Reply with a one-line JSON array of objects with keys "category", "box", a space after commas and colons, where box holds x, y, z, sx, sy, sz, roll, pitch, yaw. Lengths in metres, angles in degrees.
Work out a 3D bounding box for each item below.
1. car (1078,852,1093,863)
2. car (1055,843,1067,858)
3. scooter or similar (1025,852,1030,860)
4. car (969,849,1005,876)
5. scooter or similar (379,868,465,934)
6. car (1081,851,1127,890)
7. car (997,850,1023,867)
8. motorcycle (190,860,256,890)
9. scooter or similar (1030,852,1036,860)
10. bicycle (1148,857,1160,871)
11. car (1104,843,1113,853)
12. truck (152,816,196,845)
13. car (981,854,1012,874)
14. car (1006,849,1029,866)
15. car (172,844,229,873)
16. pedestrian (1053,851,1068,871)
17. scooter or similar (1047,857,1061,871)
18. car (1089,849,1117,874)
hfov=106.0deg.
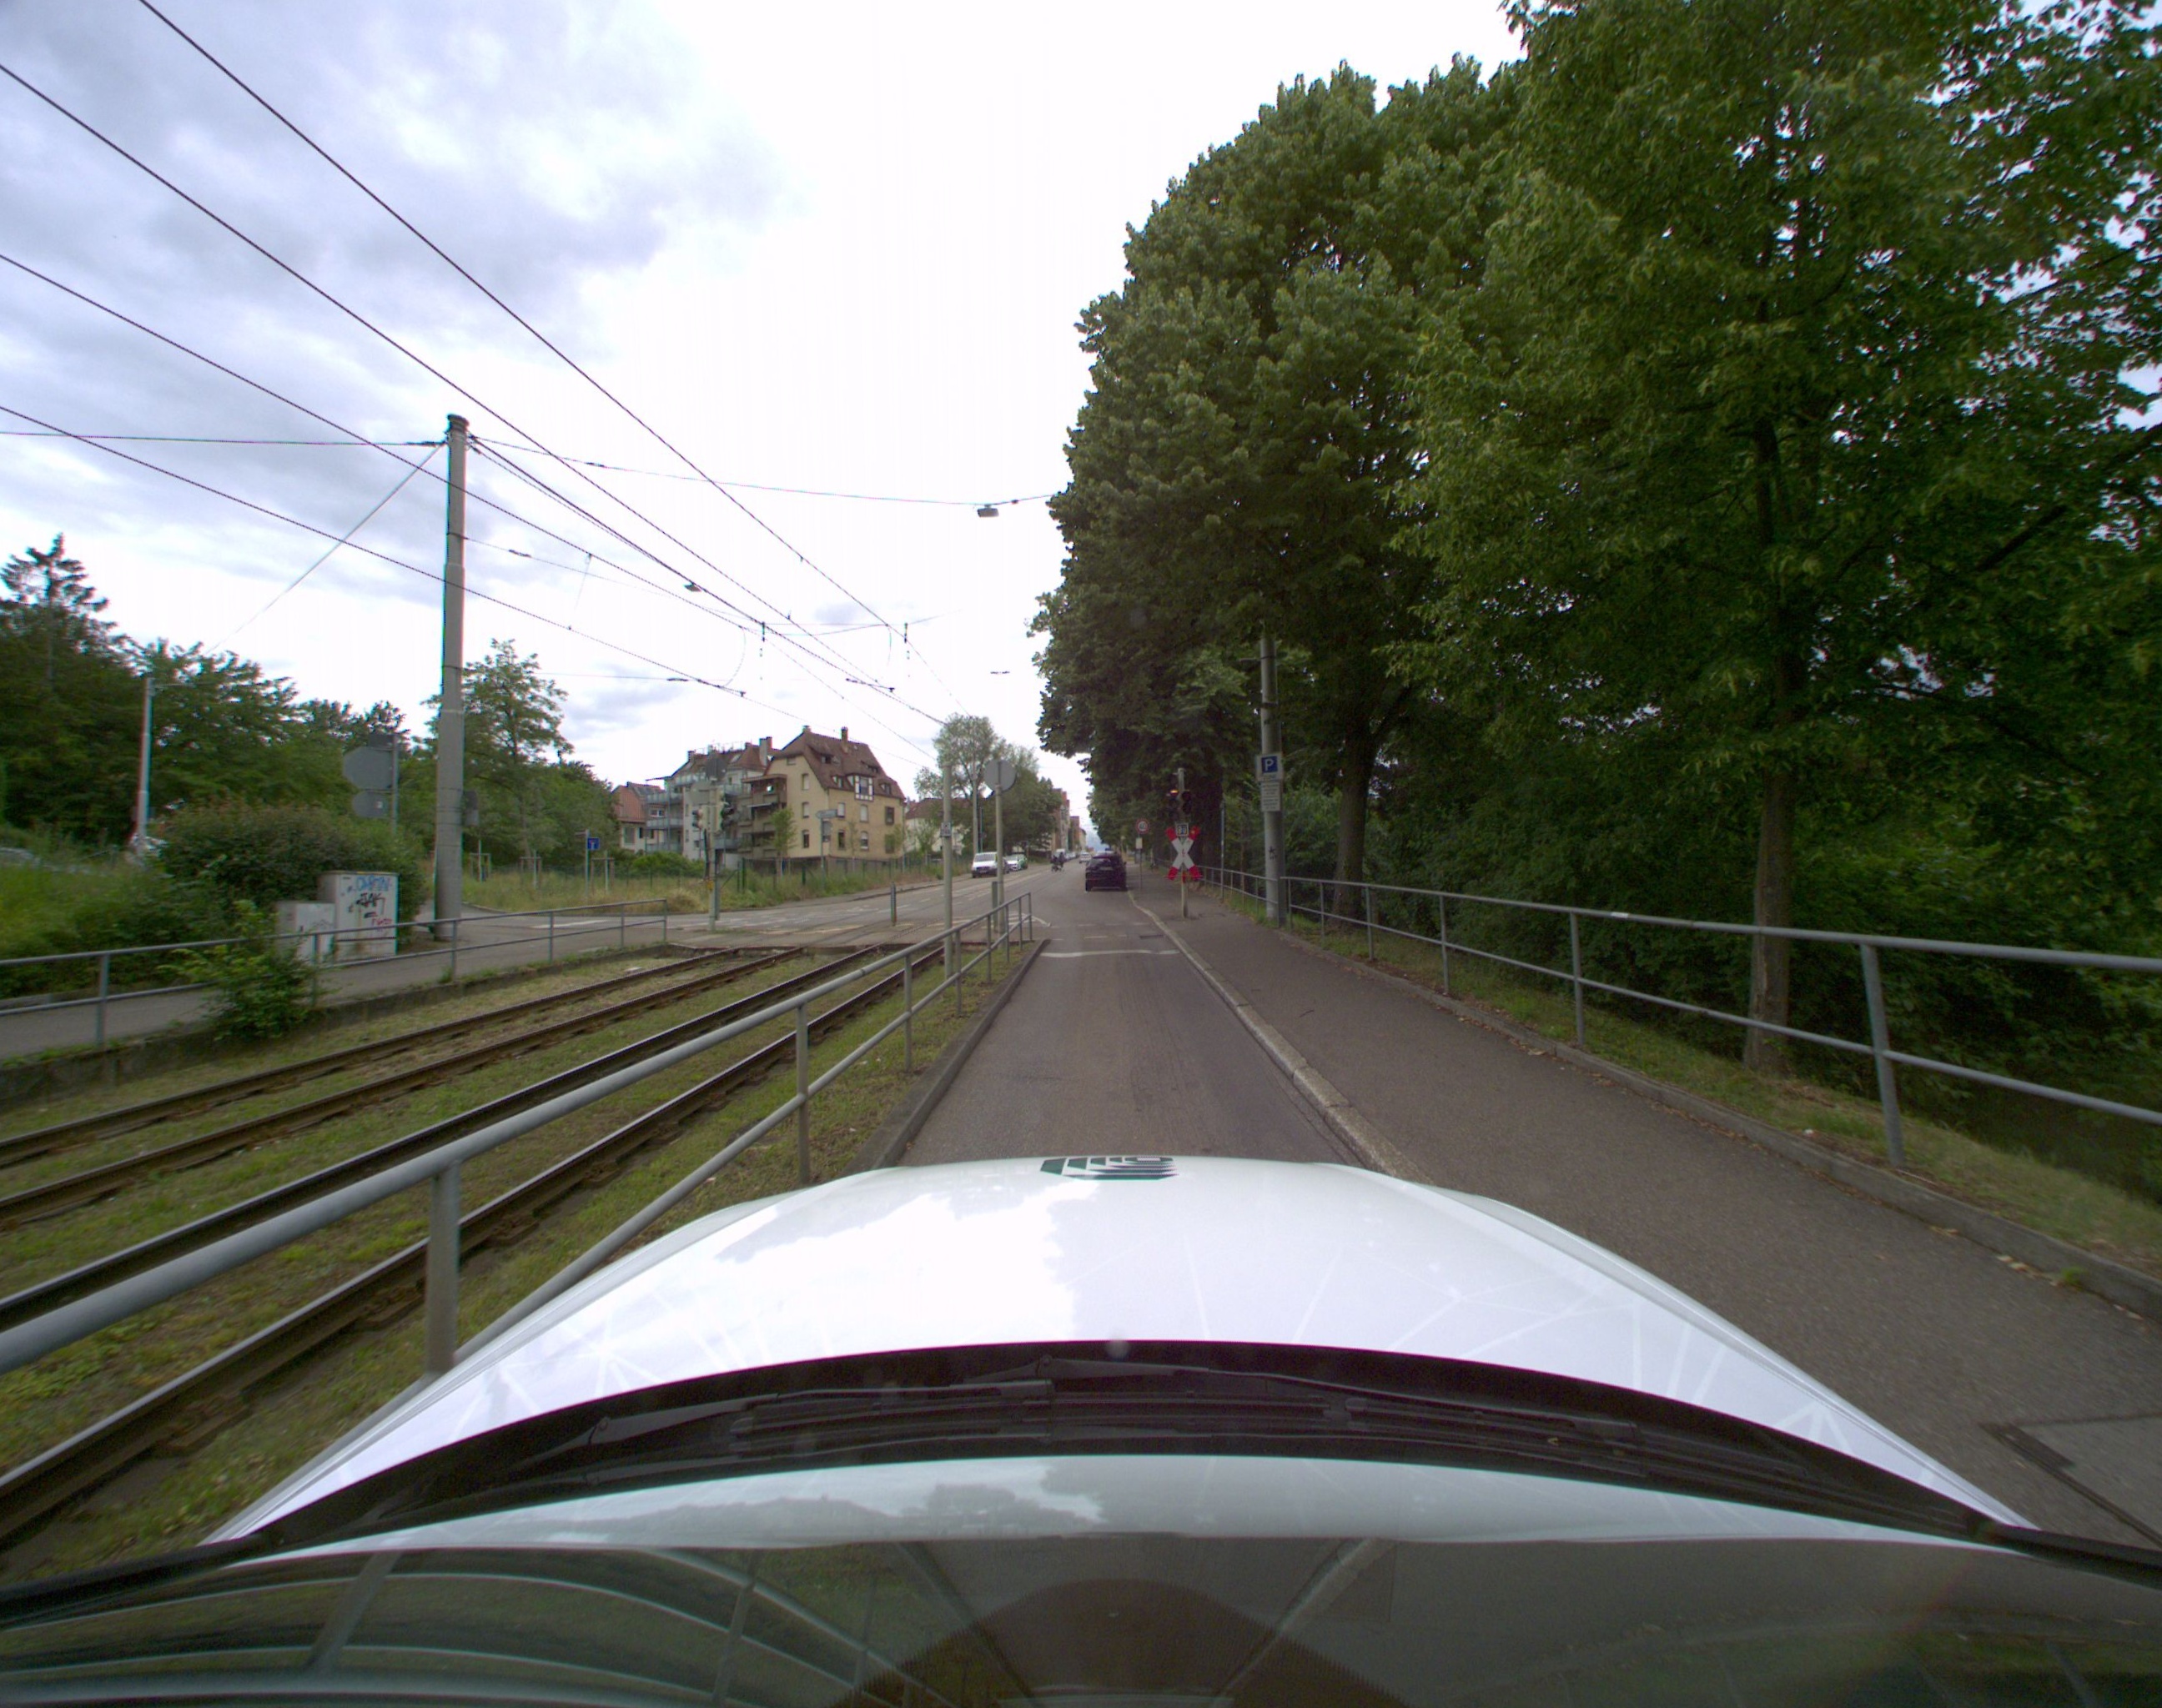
[{"category": "car", "box": [0.666, 0.524, 115.078, 1.986, 1.498, 4.314, -1, 0, 2]}, {"category": "car", "box": [-3.864, -0.584, 157.762, 2.223, 2.764, 5.798, -1, 0, 0]}, {"category": "scooter or similar", "box": [-9.095, 0.380, 138.279, 0.688, 1.339, 1.640, -1, 0, 3]}, {"category": "car", "box": [-7.193, 0.637, 62.957, 2.029, 1.881, 4.885, -4, 0, 1]}, {"category": "scooter or similar", "box": [-13.747, 0.980, 17.005, 1.403, 1.289, 0.419, 3, -1, 2]}, {"category": "car", "box": [1.094, 0.685, 36.744, 1.896, 1.615, 4.604, 0, 0, 3]}, {"category": "car", "box": [-6.678, 0.419, 77.016, 1.878, 1.526, 4.666, -3, 0, 2]}, {"category": "motorcycle", "box": [-34.391, 0.850, 32.665, 0.515, 1.157, 1.715, -2, -5, 37]}, {"category": "scooter or similar", "box": [-8.144, 0.363, 138.264, 0.688, 1.339, 1.640, -1, 0, 3]}, {"category": "bicycle", "box": [4.987, 0.671, 55.750, 0.427, 0.976, 1.790, -1, 0, -8]}, {"category": "car", "box": [7.127, -1.475, 210.735, 1.985, 2.574, 4.707, -2, 0, 2]}, {"category": "truck", "box": [-124.303, -3.130, 111.571, 8.093, 3.600, 3.583, -1, -1, 39]}, {"category": "car", "box": [-7.072, 0.834, 68.680, 1.889, 1.432, 4.513, -3, 1, 2]}, {"category": "car", "box": [-6.411, 0.295, 82.616, 1.716, 1.579, 4.183, -3, 0, 2]}, {"category": "car", "box": [-47.721, 0.266, 44.129, 4.079, 1.511, 1.995, -1, -1, 41]}, {"category": "pedestrian", "box": [-1.652, 0.593, 67.151, 0.905, 1.628, 0.812, -2, -1, 43]}, {"category": "scooter or similar", "box": [-2.244, 0.823, 67.724, 0.829, 1.196, 0.812, -2, -1, 43]}, {"category": "car", "box": [1.610, 0.473, 58.601, 1.870, 1.677, 5.066, 0, 1, 2]}]
